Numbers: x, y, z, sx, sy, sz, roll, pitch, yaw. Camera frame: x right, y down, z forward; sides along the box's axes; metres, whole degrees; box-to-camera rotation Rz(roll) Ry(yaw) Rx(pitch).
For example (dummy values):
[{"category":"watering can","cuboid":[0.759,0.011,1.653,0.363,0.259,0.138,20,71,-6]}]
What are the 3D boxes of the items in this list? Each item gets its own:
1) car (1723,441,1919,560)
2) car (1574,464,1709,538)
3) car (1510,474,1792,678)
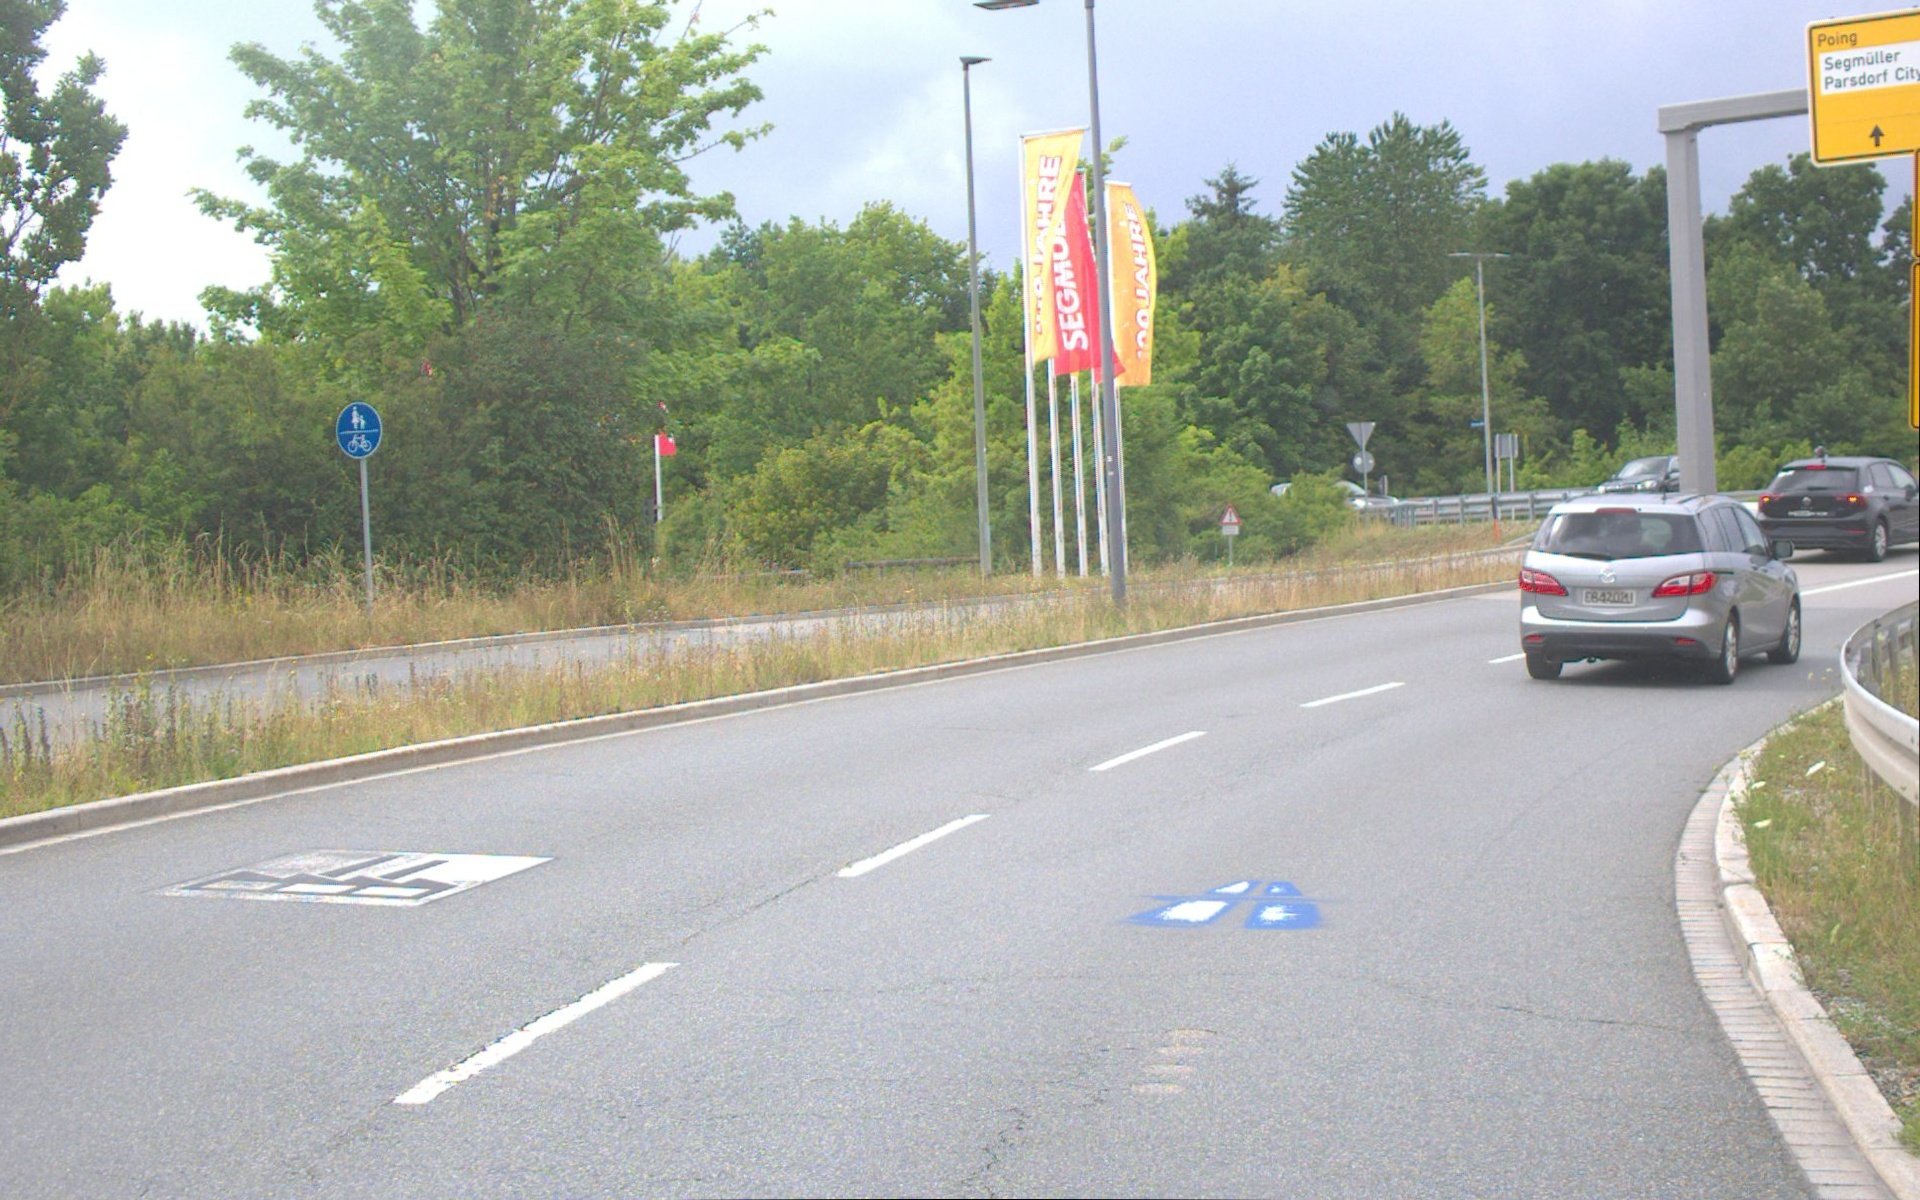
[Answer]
[{"category":"car","cuboid":[12.348,-1.440,48.509,1.873,1.599,3.728,2,4,33]},{"category":"car","cuboid":[18.833,-2.737,94.935,1.858,1.659,4.154,-4,2,38]},{"category":"car","cuboid":[6.130,-0.271,30.190,1.769,1.611,3.918,1,3,21]}]
